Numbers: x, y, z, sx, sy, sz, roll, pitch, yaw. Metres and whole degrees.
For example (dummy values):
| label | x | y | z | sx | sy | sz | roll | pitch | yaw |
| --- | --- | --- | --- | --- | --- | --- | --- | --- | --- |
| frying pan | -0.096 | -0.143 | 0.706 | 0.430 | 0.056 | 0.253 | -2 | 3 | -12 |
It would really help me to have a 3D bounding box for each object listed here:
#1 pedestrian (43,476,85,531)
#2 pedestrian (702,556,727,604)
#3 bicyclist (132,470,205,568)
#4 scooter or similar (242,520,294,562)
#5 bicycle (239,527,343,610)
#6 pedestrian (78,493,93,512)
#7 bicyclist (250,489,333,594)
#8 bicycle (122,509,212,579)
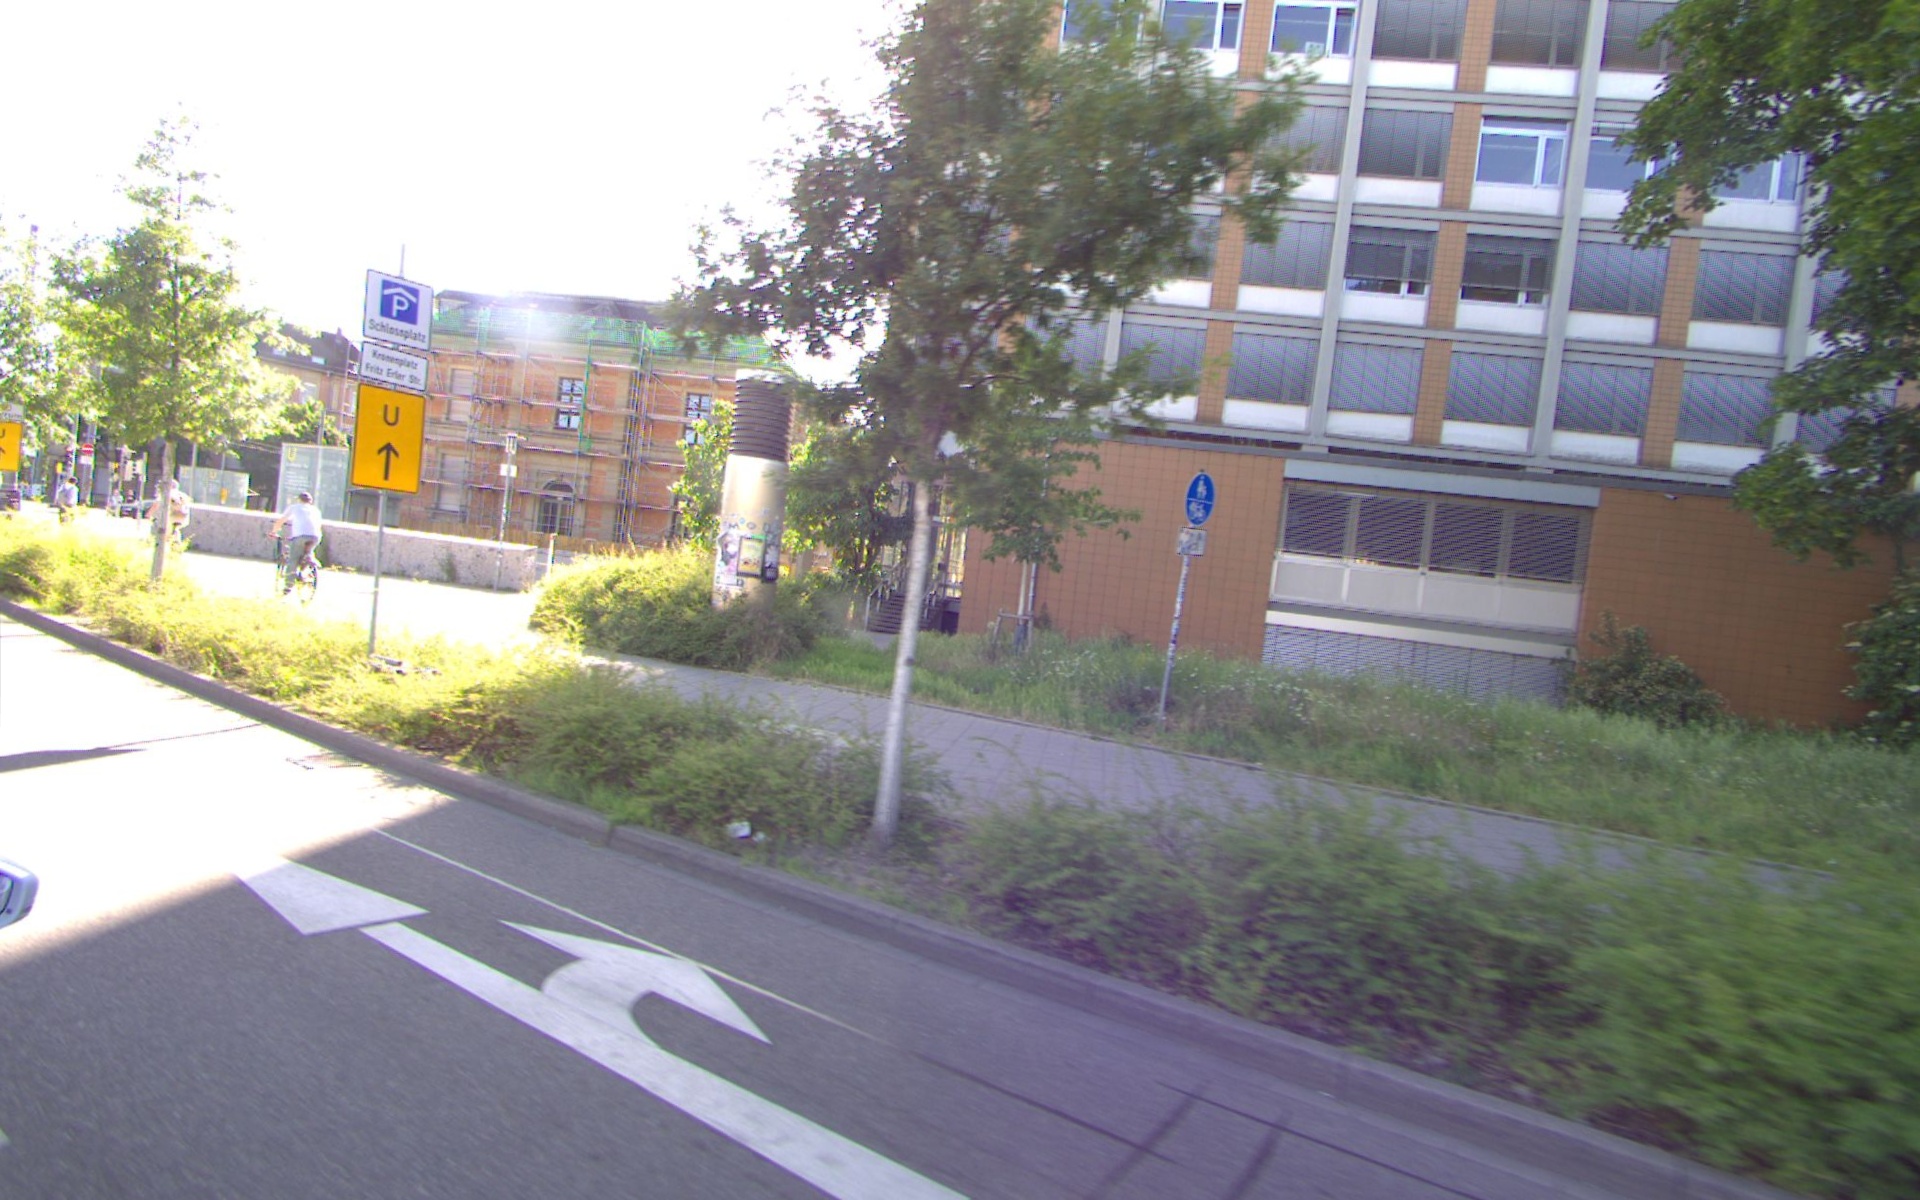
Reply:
| label | x | y | z | sx | sy | sz | roll | pitch | yaw |
| --- | --- | --- | --- | --- | --- | --- | --- | --- | --- |
| pedestrian | -31.051 | -3.330 | 34.879 | 0.586 | 1.744 | 0.870 | 5 | -1 | -9 |
| pedestrian | -9.709 | -0.784 | 39.760 | 0.533 | 1.774 | 0.782 | 8 | 2 | -29 |
| bicyclist | -15.760 | -1.610 | 20.034 | 0.961 | 1.785 | 0.720 | 8 | 1 | 32 |
| scooter or similar | -20.268 | -1.725 | 29.468 | 1.226 | 1.025 | 0.469 | 9 | 1 | 15 |
| bicycle | -11.324 | -0.537 | 17.002 | 1.840 | 1.180 | 0.716 | 7 | 1 | 33 |
| pedestrian | -69.837 | -7.782 | 80.332 | 0.787 | 1.427 | 0.599 | 10 | 2 | 32 |
| bicyclist | -11.320 | -0.984 | 17.032 | 0.962 | 1.637 | 0.720 | 8 | 1 | 33 |
| bicycle | -15.801 | -1.117 | 20.040 | 1.839 | 1.180 | 0.746 | 7 | 1 | 32 |
